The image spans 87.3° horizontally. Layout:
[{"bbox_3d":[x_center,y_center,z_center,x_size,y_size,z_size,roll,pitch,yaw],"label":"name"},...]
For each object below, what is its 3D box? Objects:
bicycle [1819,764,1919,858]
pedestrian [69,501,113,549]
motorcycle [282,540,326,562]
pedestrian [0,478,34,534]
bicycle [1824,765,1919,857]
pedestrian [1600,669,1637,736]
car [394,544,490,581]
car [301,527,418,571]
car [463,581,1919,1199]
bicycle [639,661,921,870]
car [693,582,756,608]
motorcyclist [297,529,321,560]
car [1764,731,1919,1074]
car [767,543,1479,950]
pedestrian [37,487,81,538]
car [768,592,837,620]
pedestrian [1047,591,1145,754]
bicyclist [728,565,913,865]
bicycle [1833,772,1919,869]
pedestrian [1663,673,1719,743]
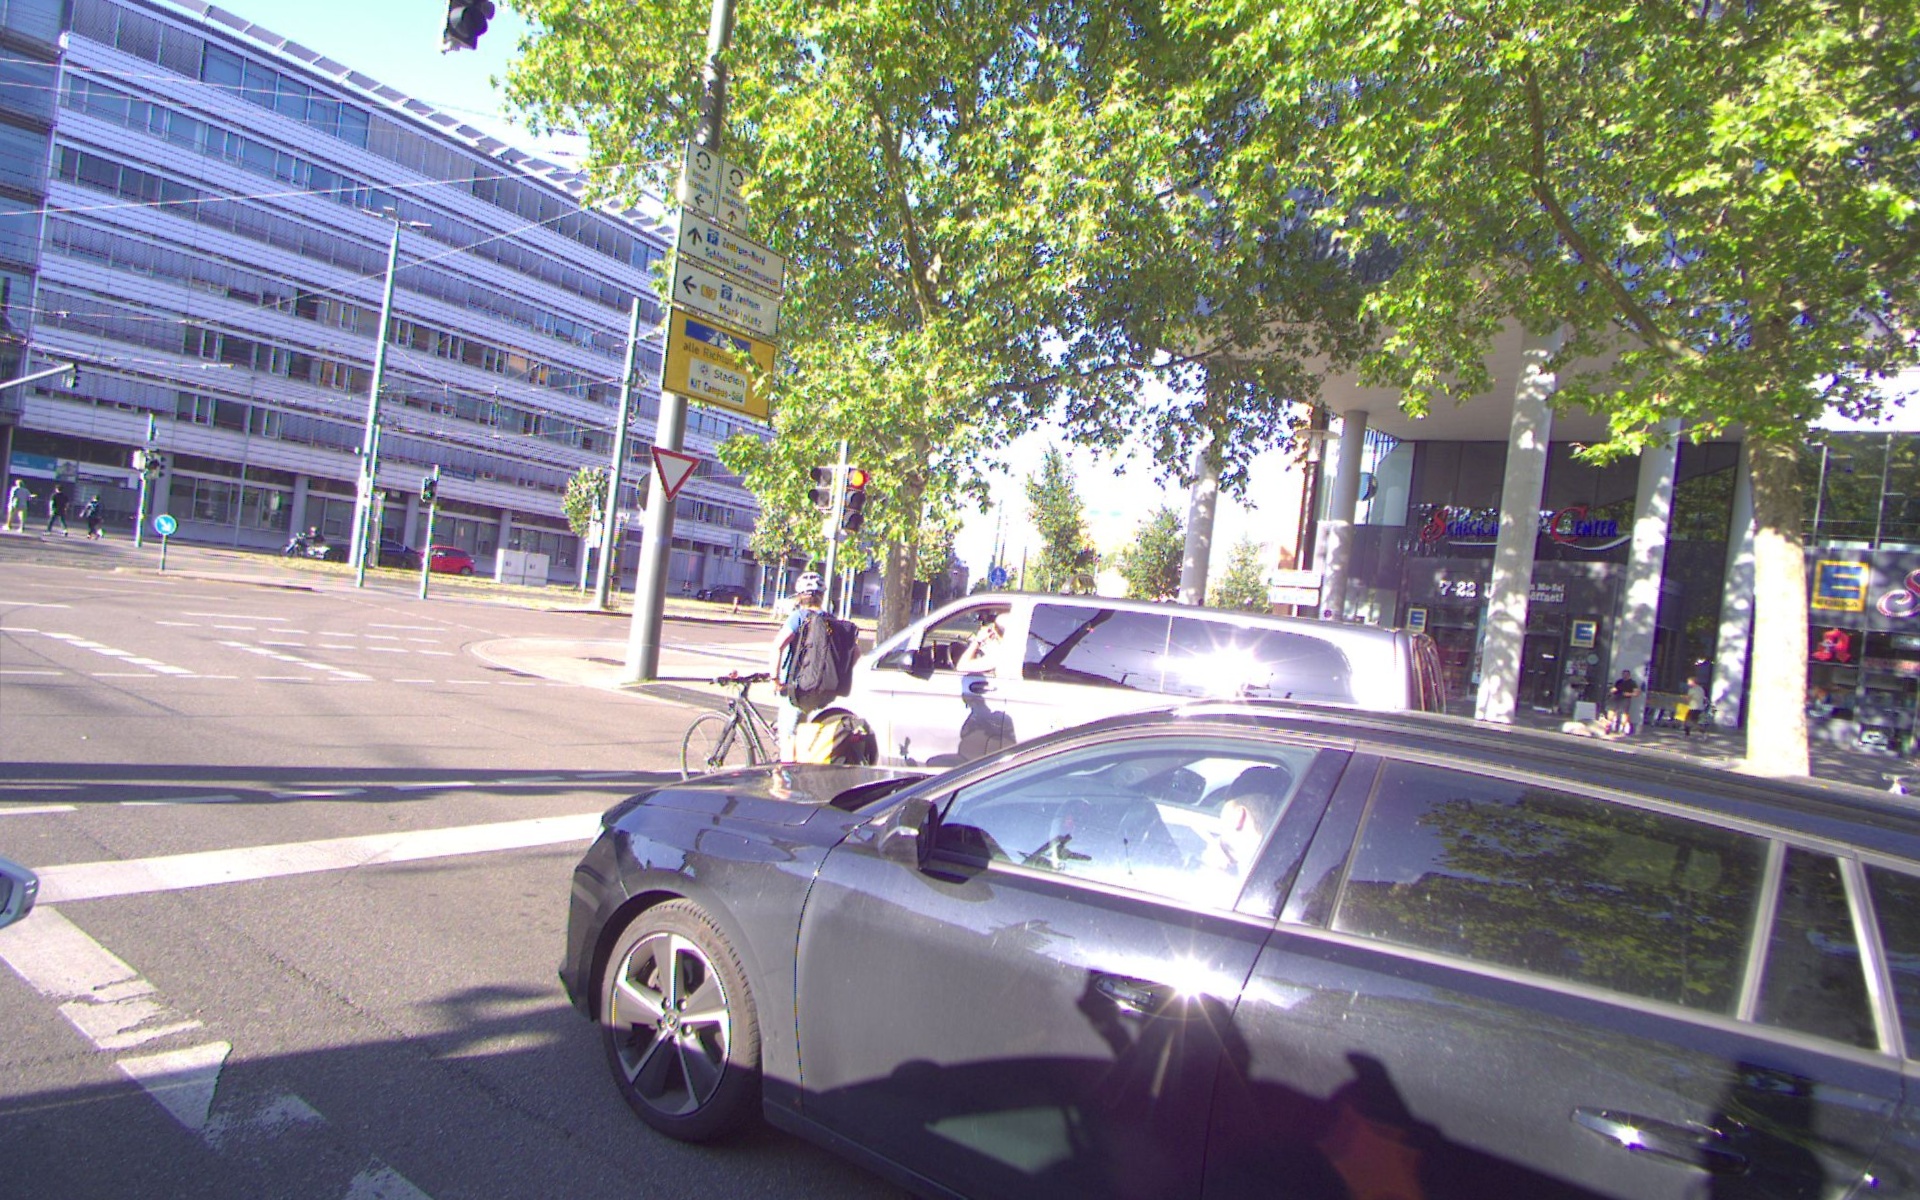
[{"bbox_3d":[11.202,2.545,12.080,0.437,0.930,1.210,6,0,-39],"label":"bicycle"},{"bbox_3d":[-31.666,-2.738,36.658,0.883,1.583,0.947,7,1,39],"label":"pedestrian"},{"bbox_3d":[-30.175,-2.261,46.293,0.460,0.820,1.568,7,0,36],"label":"motorcycle"},{"bbox_3d":[-33.032,-3.266,35.135,0.860,1.811,0.861,7,1,44],"label":"pedestrian"},{"bbox_3d":[11.500,2.607,12.352,0.460,0.938,1.210,6,0,-39],"label":"bicycle"},{"bbox_3d":[17.464,2.722,26.667,0.598,1.707,0.511,6,1,-41],"label":"pedestrian"},{"bbox_3d":[-26.548,-1.913,51.651,1.758,1.411,3.984,7,1,37],"label":"car"},{"bbox_3d":[-27.261,-2.304,45.781,1.758,1.415,4.157,7,0,37],"label":"car"},{"bbox_3d":[0.771,0.944,2.748,4.199,1.431,1.742,7,-2,32],"label":"car"},{"bbox_3d":[-1.220,1.019,6.614,1.839,0.993,0.561,7,1,32],"label":"bicycle"},{"bbox_3d":[-16.900,-0.345,72.459,1.758,1.415,4.157,7,0,37],"label":"car"},{"bbox_3d":[-30.056,-2.554,46.429,0.452,1.291,0.712,7,1,36],"label":"motorcyclist"},{"bbox_3d":[6.549,1.731,4.570,4.181,1.503,1.741,7,0,31],"label":"car"},{"bbox_3d":[1.109,0.843,7.934,5.012,2.004,1.939,7,0,31],"label":"car"},{"bbox_3d":[-32.907,-3.200,36.747,1.020,1.706,0.912,7,1,39],"label":"pedestrian"},{"bbox_3d":[-10.678,0.425,68.566,1.758,1.353,4.605,7,0,37],"label":"car"},{"bbox_3d":[1.671,0.881,12.359,0.800,1.868,0.642,7,1,30],"label":"pedestrian"},{"bbox_3d":[-0.882,0.695,6.398,0.766,1.714,0.632,7,1,32],"label":"bicyclist"},{"bbox_3d":[10.543,2.479,11.094,1.233,0.898,0.462,7,1,32],"label":"bicycle"},{"bbox_3d":[19.624,2.886,27.031,0.705,1.728,0.806,7,1,-2],"label":"pedestrian"}]
